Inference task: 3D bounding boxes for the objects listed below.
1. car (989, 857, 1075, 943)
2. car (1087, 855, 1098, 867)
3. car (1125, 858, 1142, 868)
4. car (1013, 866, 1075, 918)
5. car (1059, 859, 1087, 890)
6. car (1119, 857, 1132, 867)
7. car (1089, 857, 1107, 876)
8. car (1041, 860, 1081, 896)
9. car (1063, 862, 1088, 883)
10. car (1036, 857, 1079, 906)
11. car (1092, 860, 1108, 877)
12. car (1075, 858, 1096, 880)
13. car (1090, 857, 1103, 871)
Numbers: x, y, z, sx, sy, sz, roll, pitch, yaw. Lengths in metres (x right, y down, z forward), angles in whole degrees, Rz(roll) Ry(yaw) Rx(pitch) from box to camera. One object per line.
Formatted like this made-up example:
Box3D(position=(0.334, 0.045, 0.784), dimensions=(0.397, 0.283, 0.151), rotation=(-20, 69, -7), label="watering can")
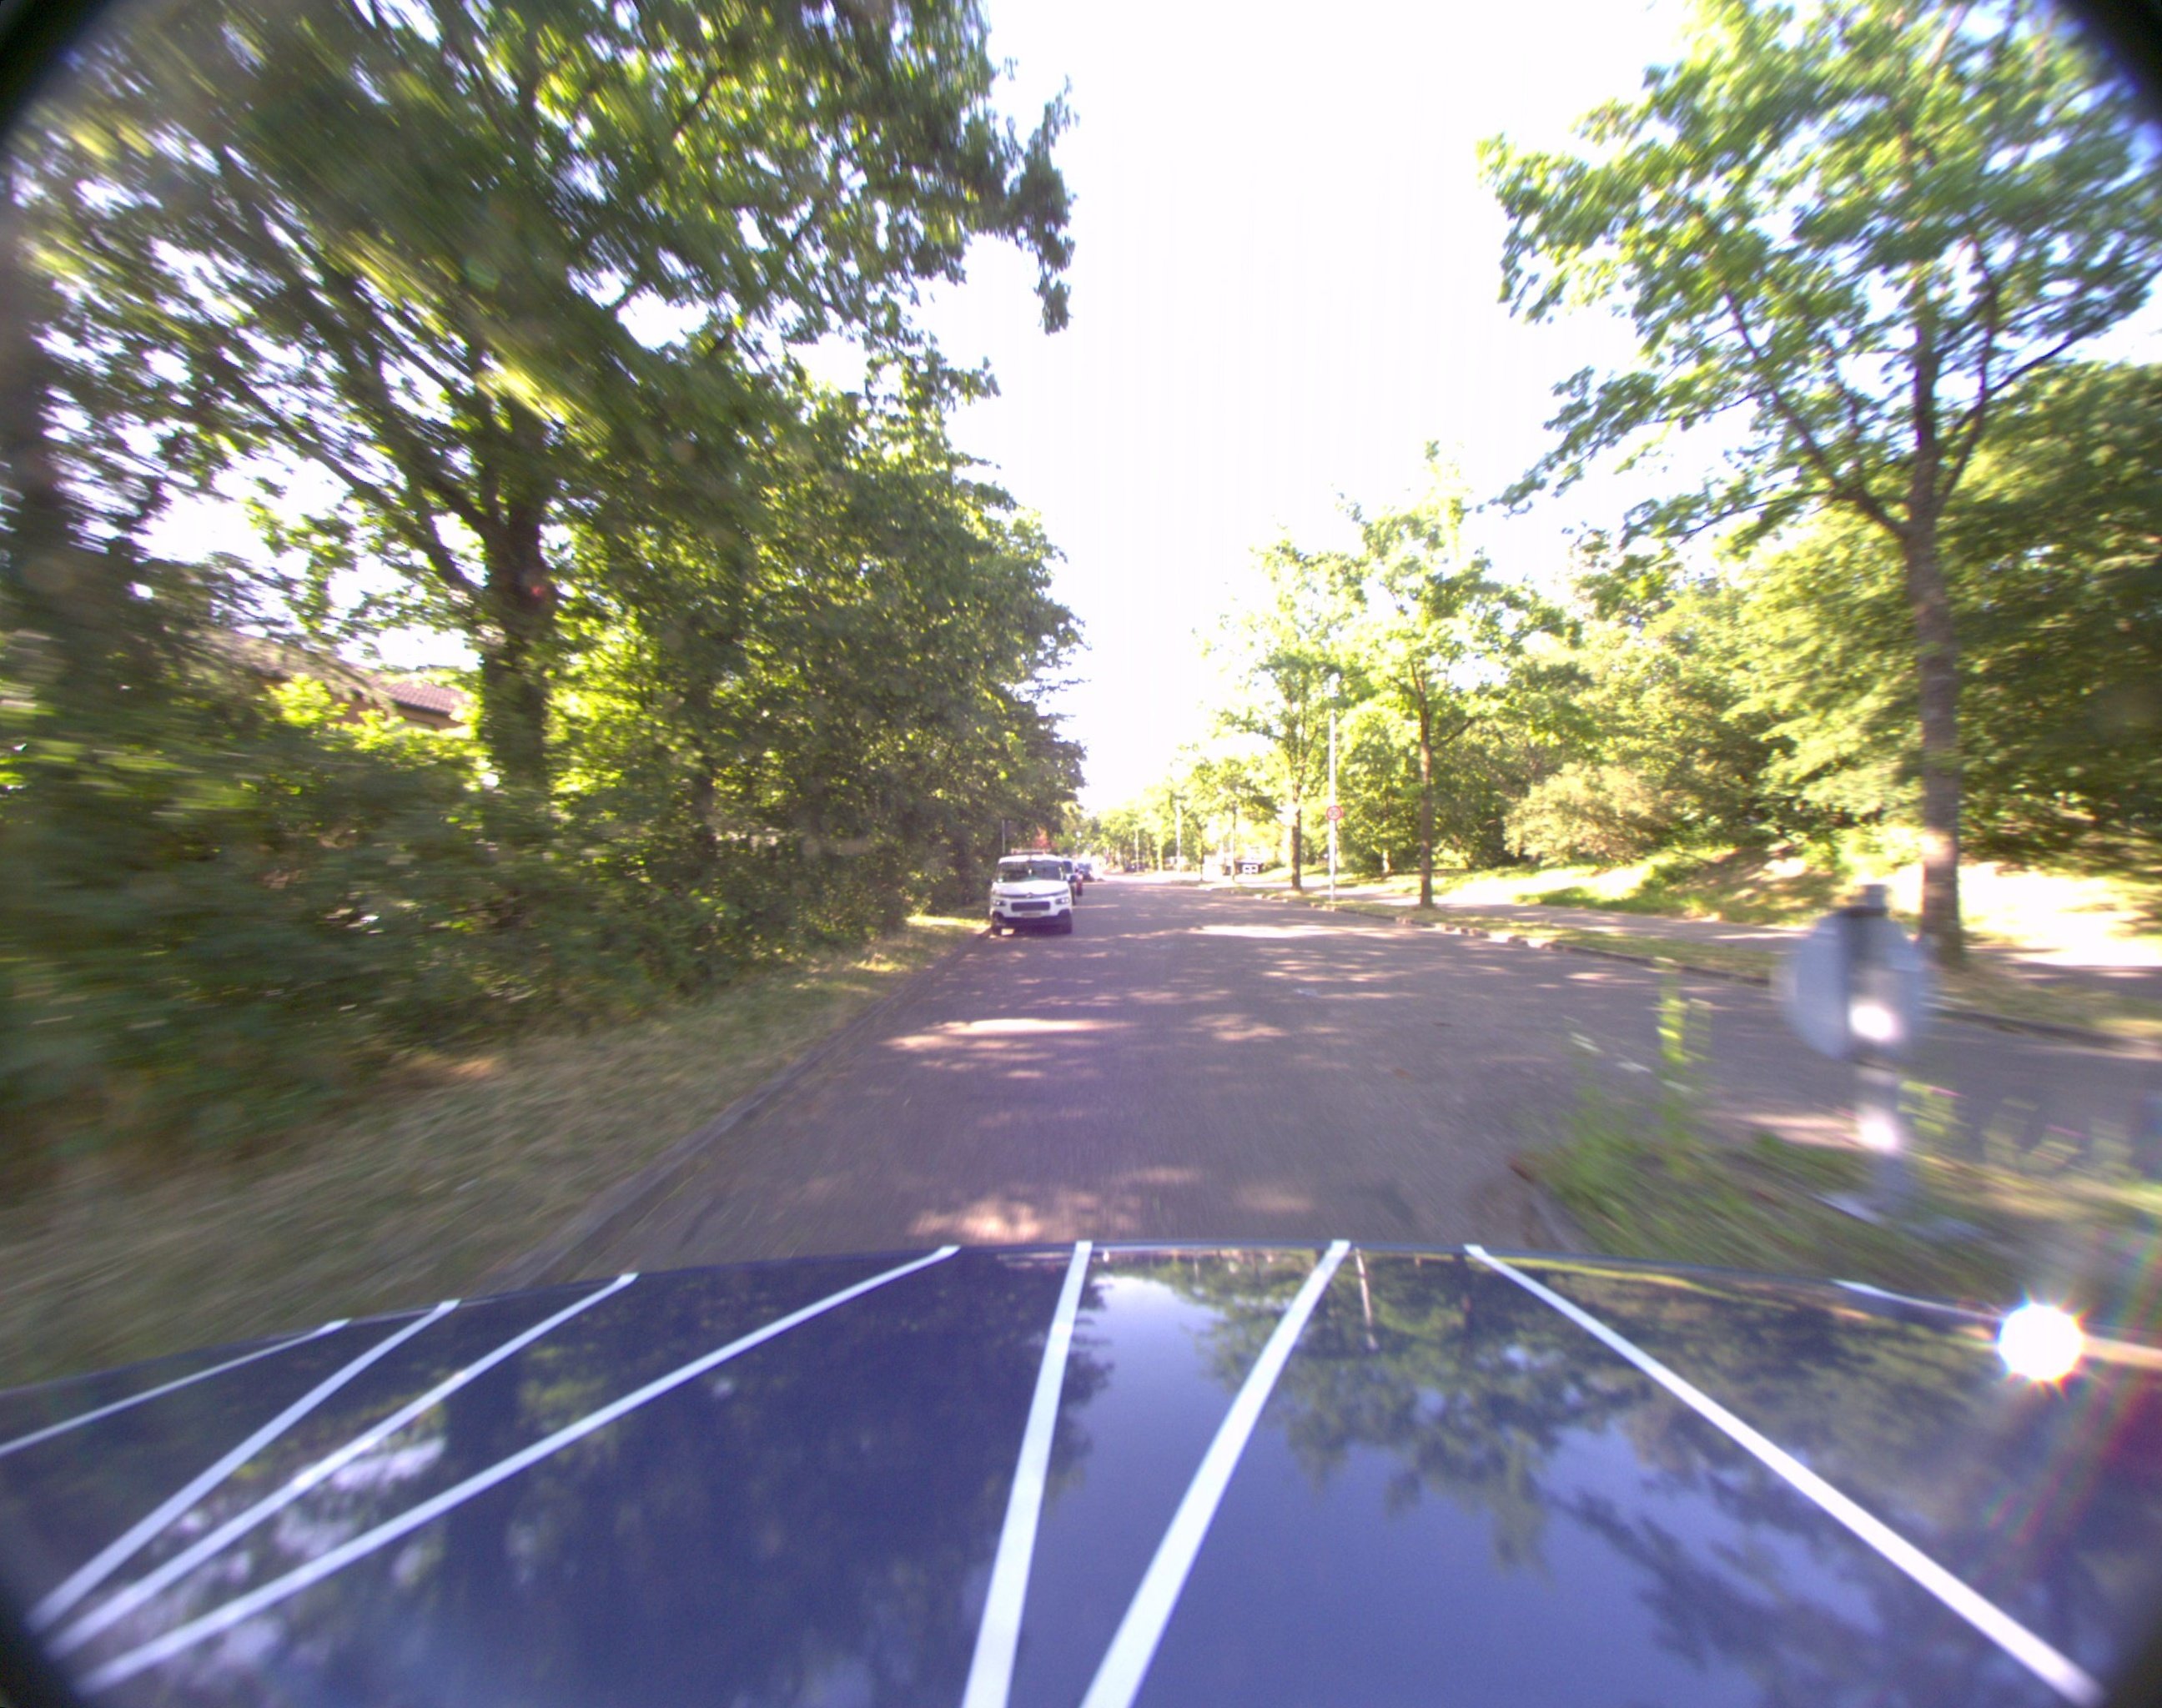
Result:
Box3D(position=(-1.119, 0.960, 18.210), dimensions=(1.754, 1.739, 4.633), rotation=(-1, 0, -2), label="car")
Box3D(position=(1.625, 1.002, 105.817), dimensions=(1.421, 1.643, 3.910), rotation=(-1, 0, 3), label="car")
Box3D(position=(7.773, 1.317, 112.756), dimensions=(2.000, 1.359, 3.997), rotation=(0, 0, -6), label="car")
Box3D(position=(-1.111, 1.165, 24.882), dimensions=(1.722, 1.436, 4.614), rotation=(-2, 0, 0), label="car")
Box3D(position=(-0.417, 1.134, 42.700), dimensions=(1.500, 1.629, 3.753), rotation=(-1, 0, 0), label="car")
Box3D(position=(7.685, 1.339, 131.261), dimensions=(1.999, 1.574, 3.999), rotation=(0, 0, -2), label="car")
Box3D(position=(1.565, 1.159, 69.328), dimensions=(1.449, 1.643, 3.720), rotation=(-1, 0, 3), label="car")
Box3D(position=(-0.902, 1.113, 36.801), dimensions=(1.772, 1.629, 3.753), rotation=(-1, 0, 0), label="car")
Box3D(position=(-0.354, 1.297, 53.572), dimensions=(1.500, 1.351, 3.467), rotation=(-1, 0, 3), label="car")
Box3D(position=(-0.847, 1.024, 29.499), dimensions=(1.500, 1.744, 3.802), rotation=(-1, 0, 0), label="car")
Box3D(position=(1.864, 1.404, 74.177), dimensions=(1.449, 1.643, 3.720), rotation=(-1, 0, 3), label="car")
Box3D(position=(0.408, 1.181, 60.076), dimensions=(1.500, 1.643, 4.092), rotation=(-1, 0, 3), label="car")
Box3D(position=(1.934, 1.194, 93.383), dimensions=(1.421, 1.643, 3.910), rotation=(-1, 0, 3), label="car")
